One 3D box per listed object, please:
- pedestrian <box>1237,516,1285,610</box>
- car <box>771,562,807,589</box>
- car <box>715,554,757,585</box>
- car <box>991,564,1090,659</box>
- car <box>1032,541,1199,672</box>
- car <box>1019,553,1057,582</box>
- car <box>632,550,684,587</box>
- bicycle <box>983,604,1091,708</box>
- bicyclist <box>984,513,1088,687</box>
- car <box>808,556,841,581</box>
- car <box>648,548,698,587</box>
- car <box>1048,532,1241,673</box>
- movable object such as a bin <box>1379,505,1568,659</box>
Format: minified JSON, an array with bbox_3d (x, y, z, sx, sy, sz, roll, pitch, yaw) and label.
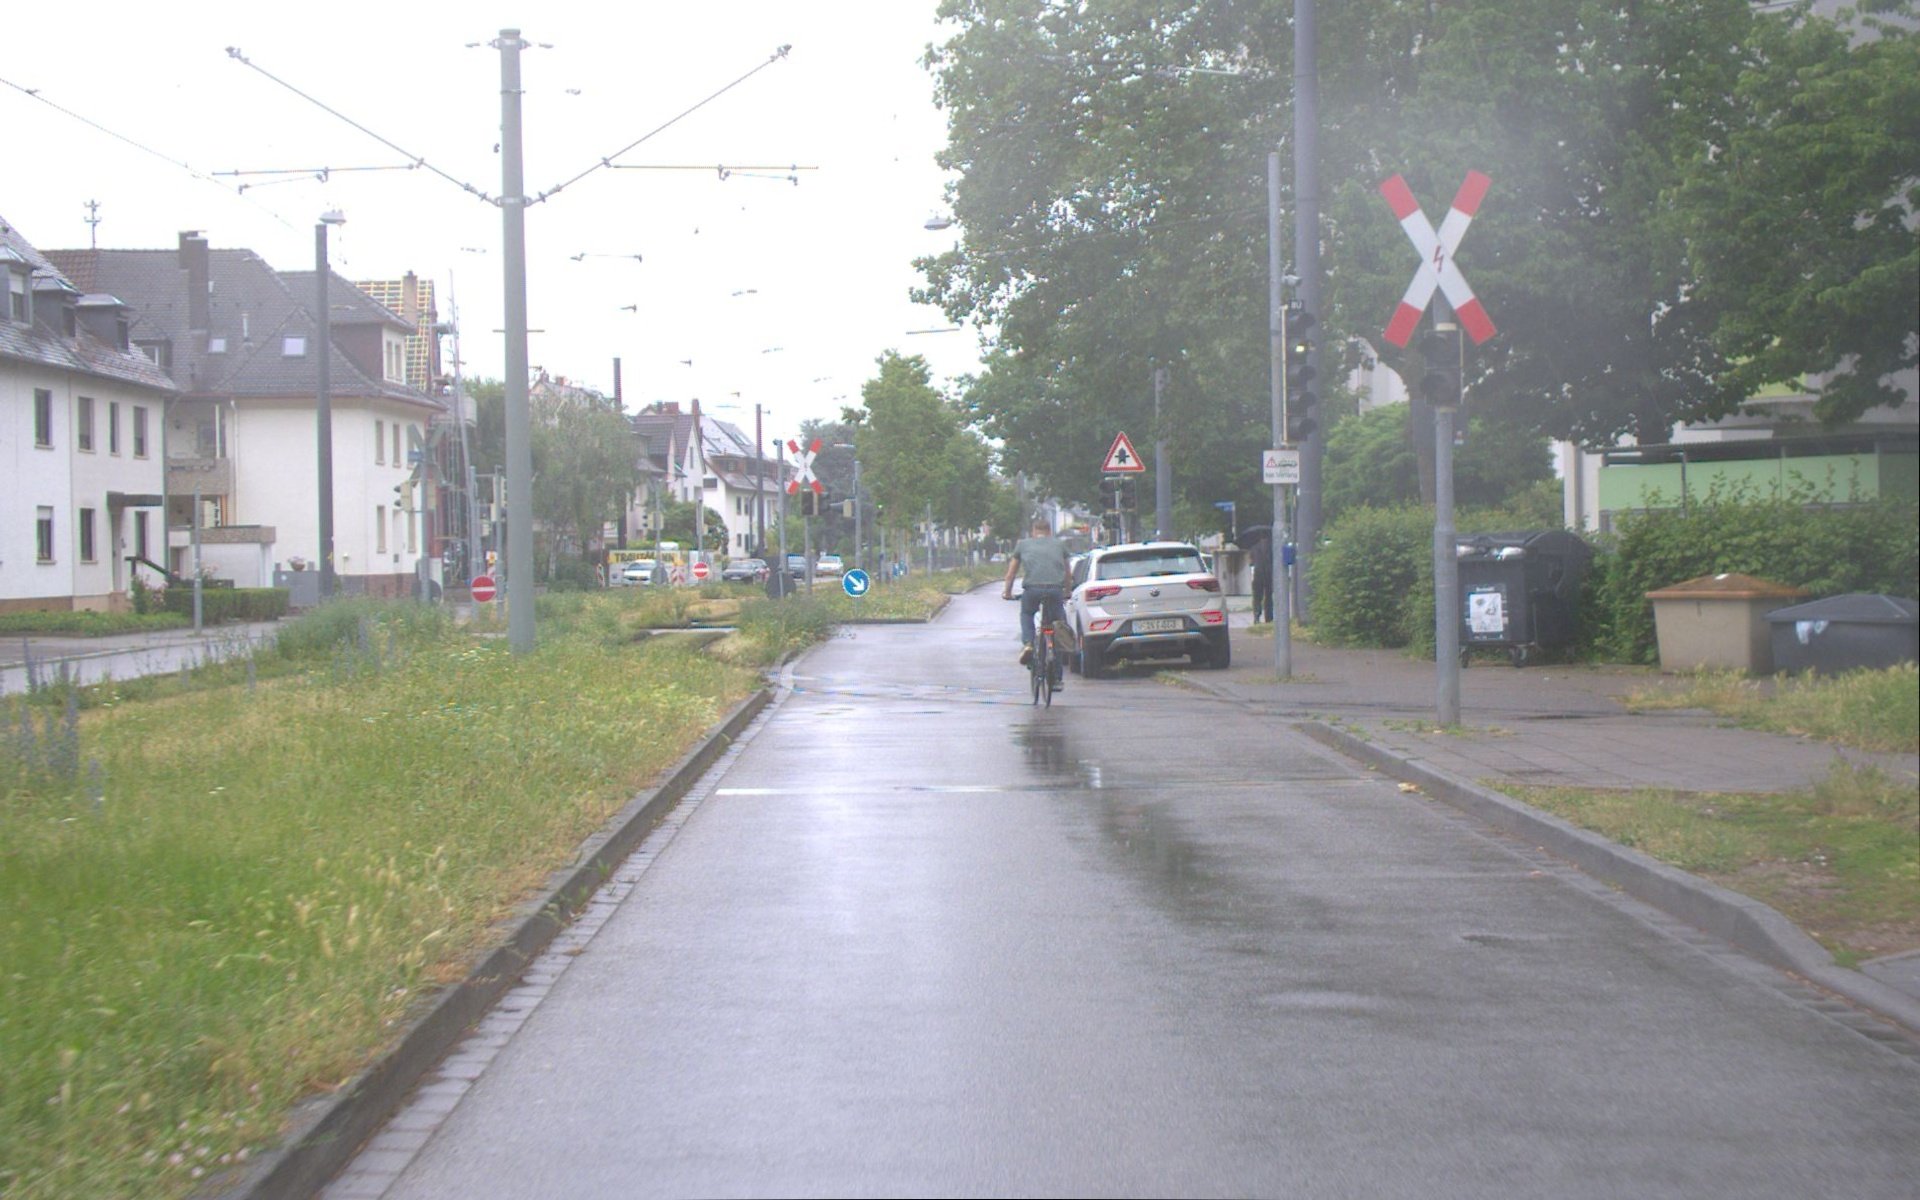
[{"bbox_3d":[5.655,-0.693,64.582,0.748,1.710,0.750,-3,0,11],"label":"pedestrian"},{"bbox_3d":[-10.670,-1.533,214.779,1.993,1.539,4.000,-1,-1,1],"label":"car"},{"bbox_3d":[-12.306,-1.657,189.147,1.993,1.539,4.000,-1,-1,1],"label":"car"},{"bbox_3d":[1.788,0.260,77.674,1.941,2.006,4.000,-3,0,-2],"label":"car"},{"bbox_3d":[2.104,0.084,47.603,1.941,1.646,4.000,-3,0,-2],"label":"car"},{"bbox_3d":[4.423,-1.861,195.203,1.993,1.487,4.000,-1,-1,0],"label":"car"},{"bbox_3d":[-13.891,-1.455,158.377,1.993,1.539,4.000,-1,-1,1],"label":"car"},{"bbox_3d":[0.699,0.509,31.904,0.821,0.909,1.986,-2,0,-3],"label":"bicycle"},{"bbox_3d":[0.694,-0.004,31.639,0.831,1.553,0.914,-2,0,-3],"label":"bicyclist"},{"bbox_3d":[-9.329,-2.174,236.857,1.993,1.539,4.000,-1,-1,1],"label":"car"},{"bbox_3d":[-13.655,-1.552,163.650,1.993,1.699,4.000,-1,-1,1],"label":"car"},{"bbox_3d":[2.205,0.033,42.092,1.954,1.548,4.000,-3,0,-2],"label":"car"},{"bbox_3d":[5.919,-0.212,39.669,1.549,1.698,1.501,-2,1,-24],"label":"movable object such as a bin"}]
